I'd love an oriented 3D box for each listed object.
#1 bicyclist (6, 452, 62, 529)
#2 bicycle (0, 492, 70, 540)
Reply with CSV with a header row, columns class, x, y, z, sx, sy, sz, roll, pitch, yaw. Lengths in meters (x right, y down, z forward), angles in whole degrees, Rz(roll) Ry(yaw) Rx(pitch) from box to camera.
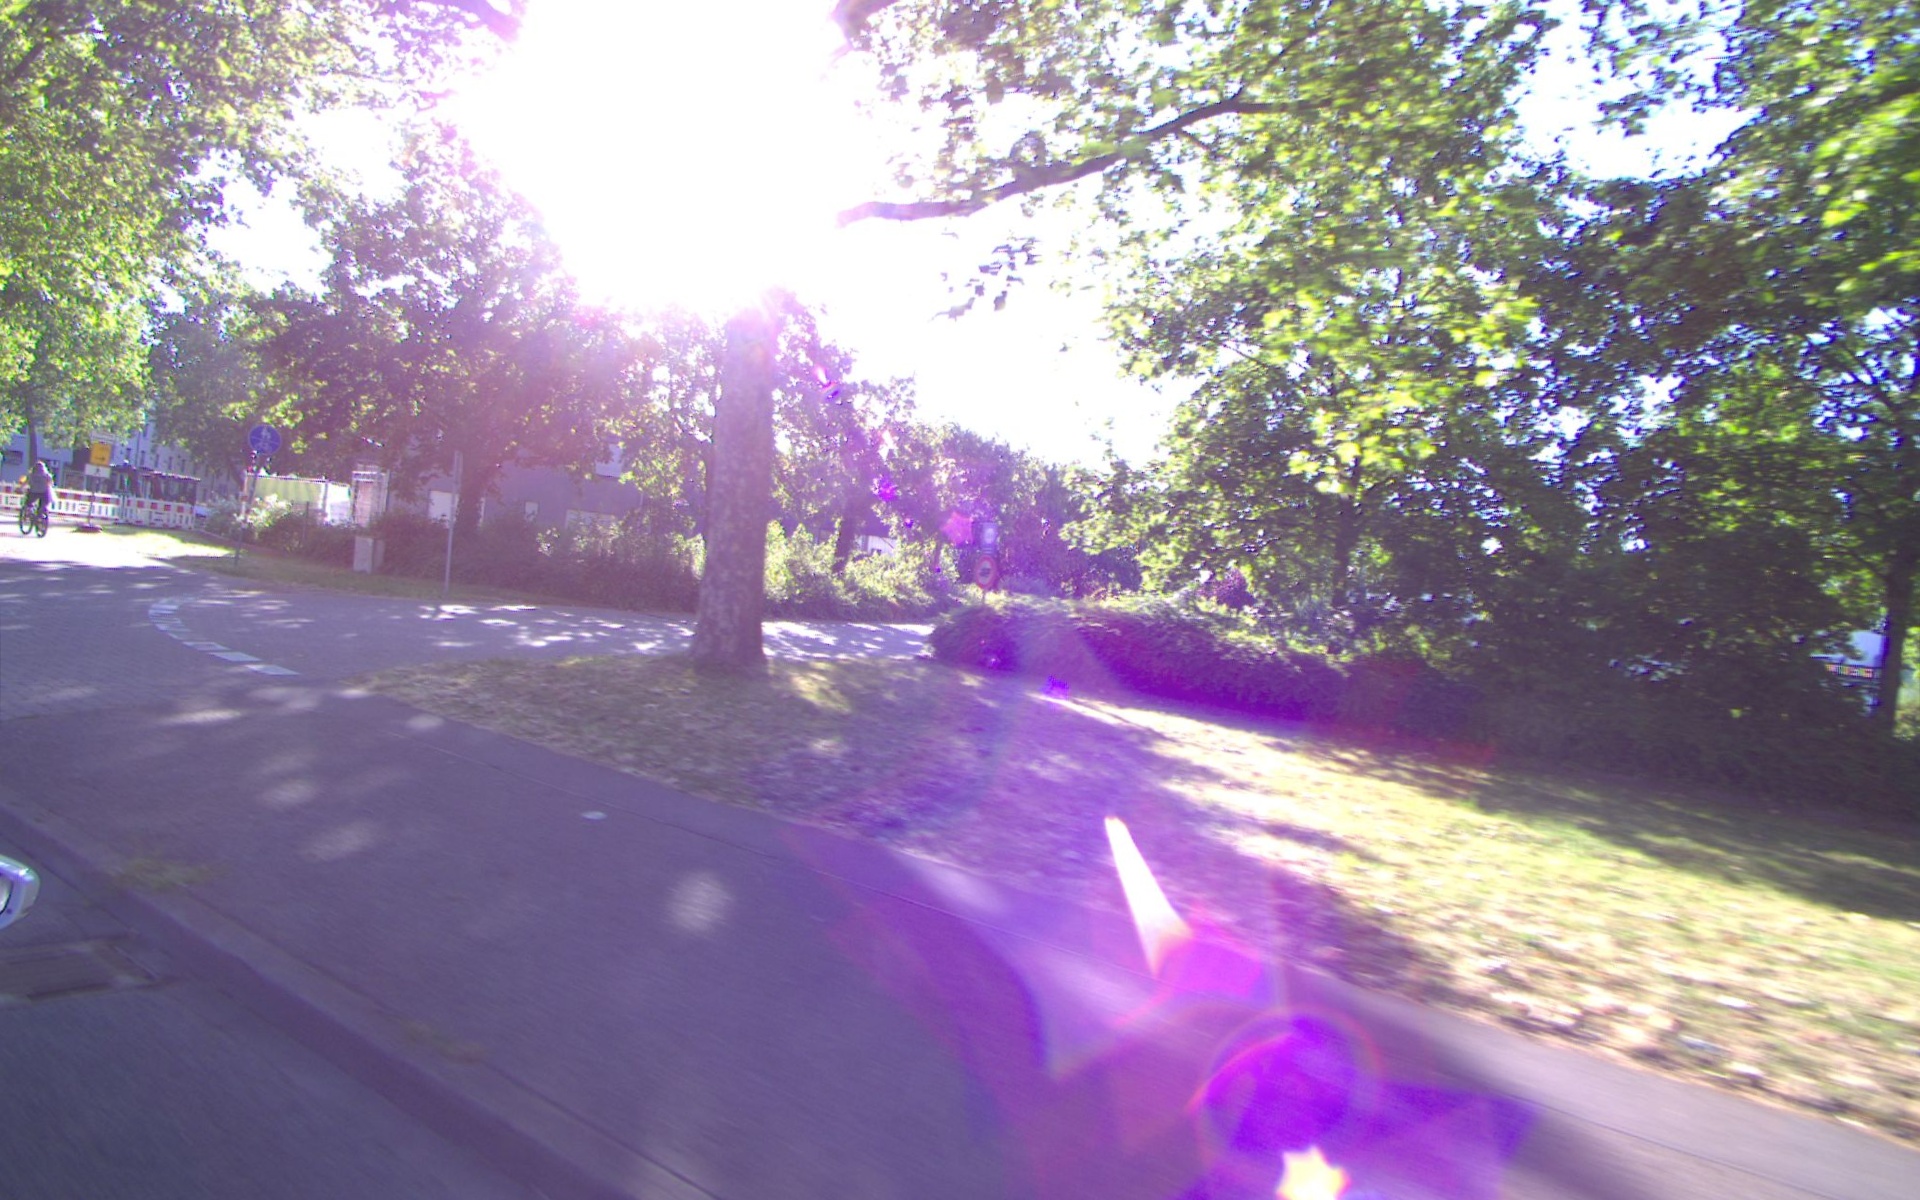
class,x,y,z,sx,sy,sz,roll,pitch,yaw
bicyclist,-22.658,-2.671,24.620,0.857,1.726,0.651,8,0,32
bicycle,-22.654,-2.056,24.564,2.138,0.977,0.770,7,2,32
